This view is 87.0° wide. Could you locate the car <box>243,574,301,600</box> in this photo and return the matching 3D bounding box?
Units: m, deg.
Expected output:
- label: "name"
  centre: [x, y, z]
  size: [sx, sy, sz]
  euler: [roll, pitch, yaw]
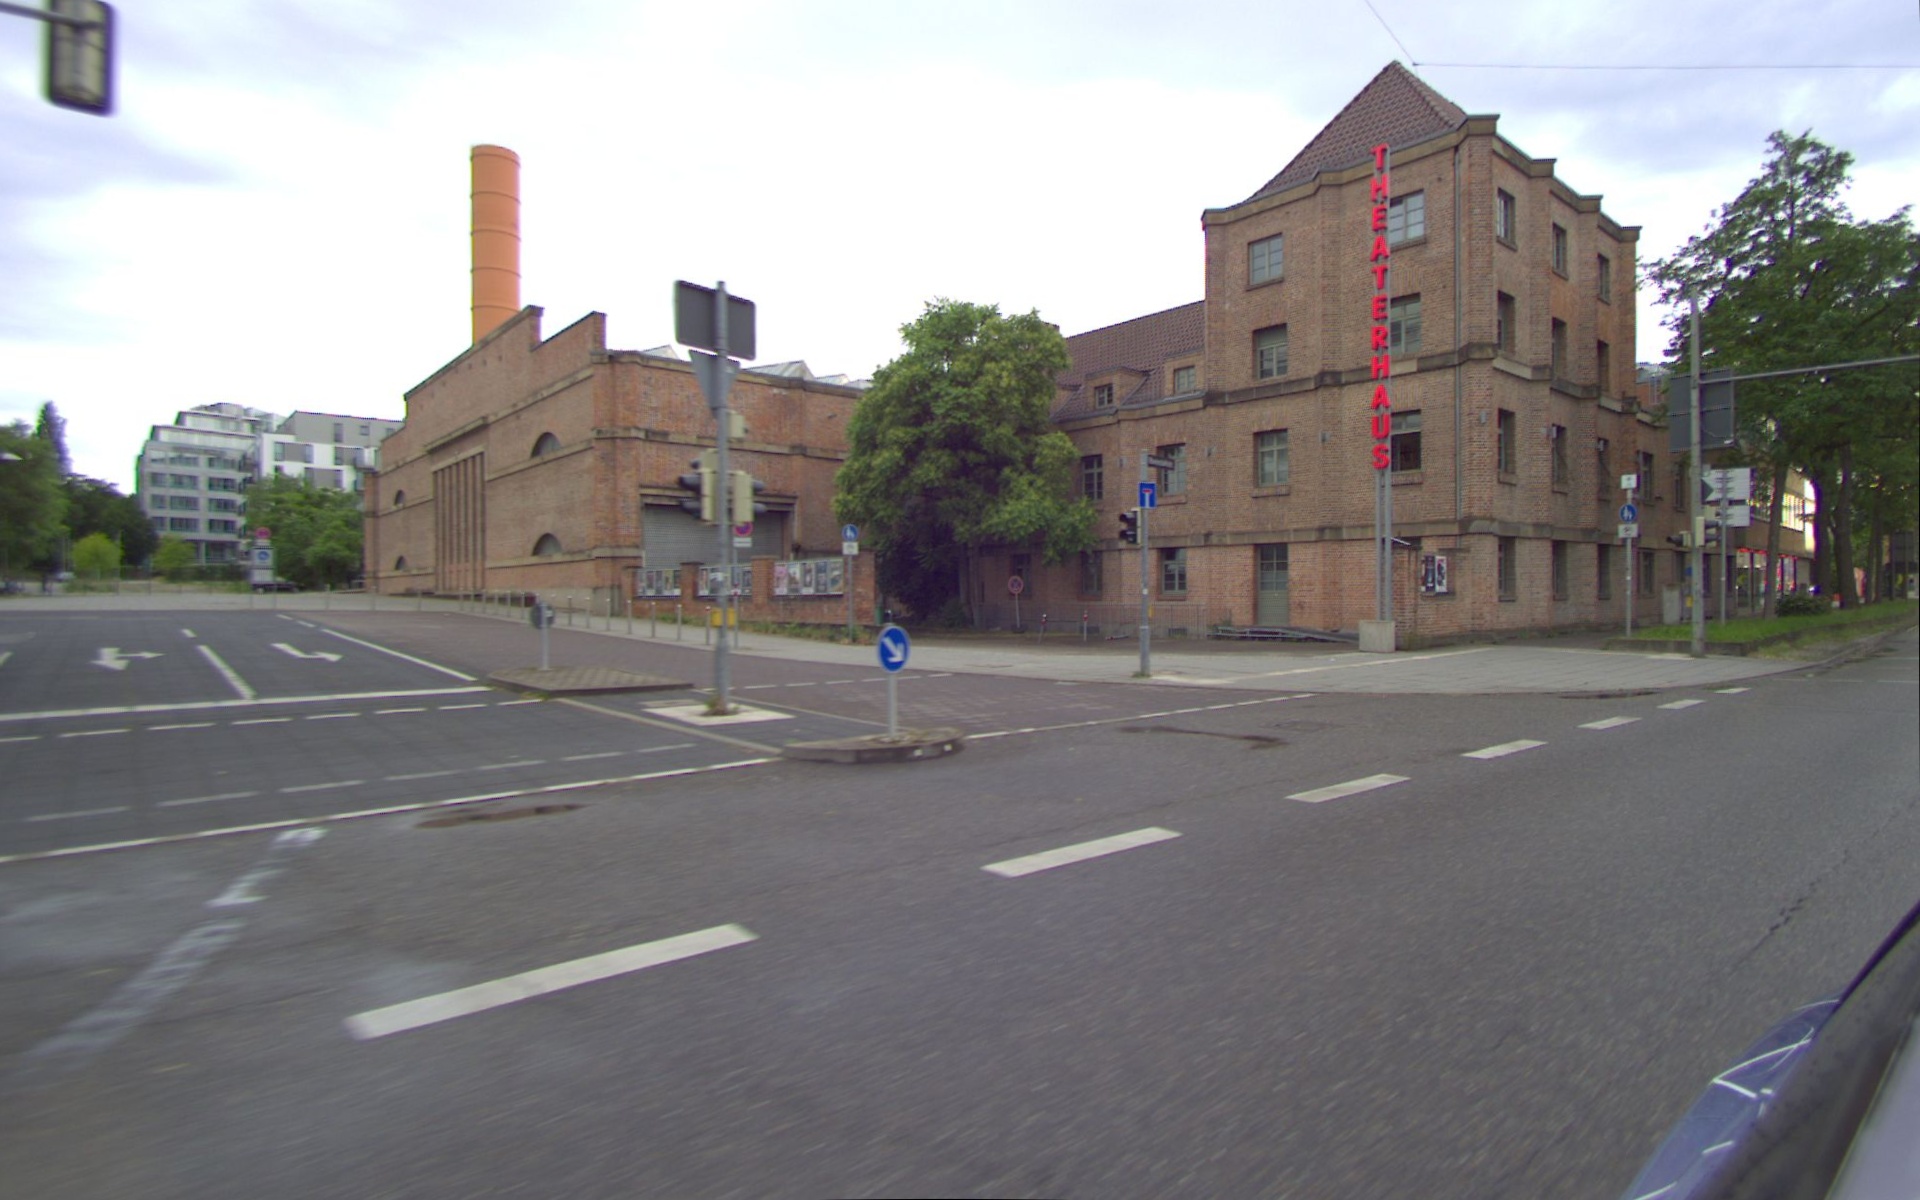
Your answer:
- label: "car"
  centre: [-58.787, -1.115, 86.529]
  size: [3.928, 2.039, 1.998]
  euler: [-2, 1, -38]
